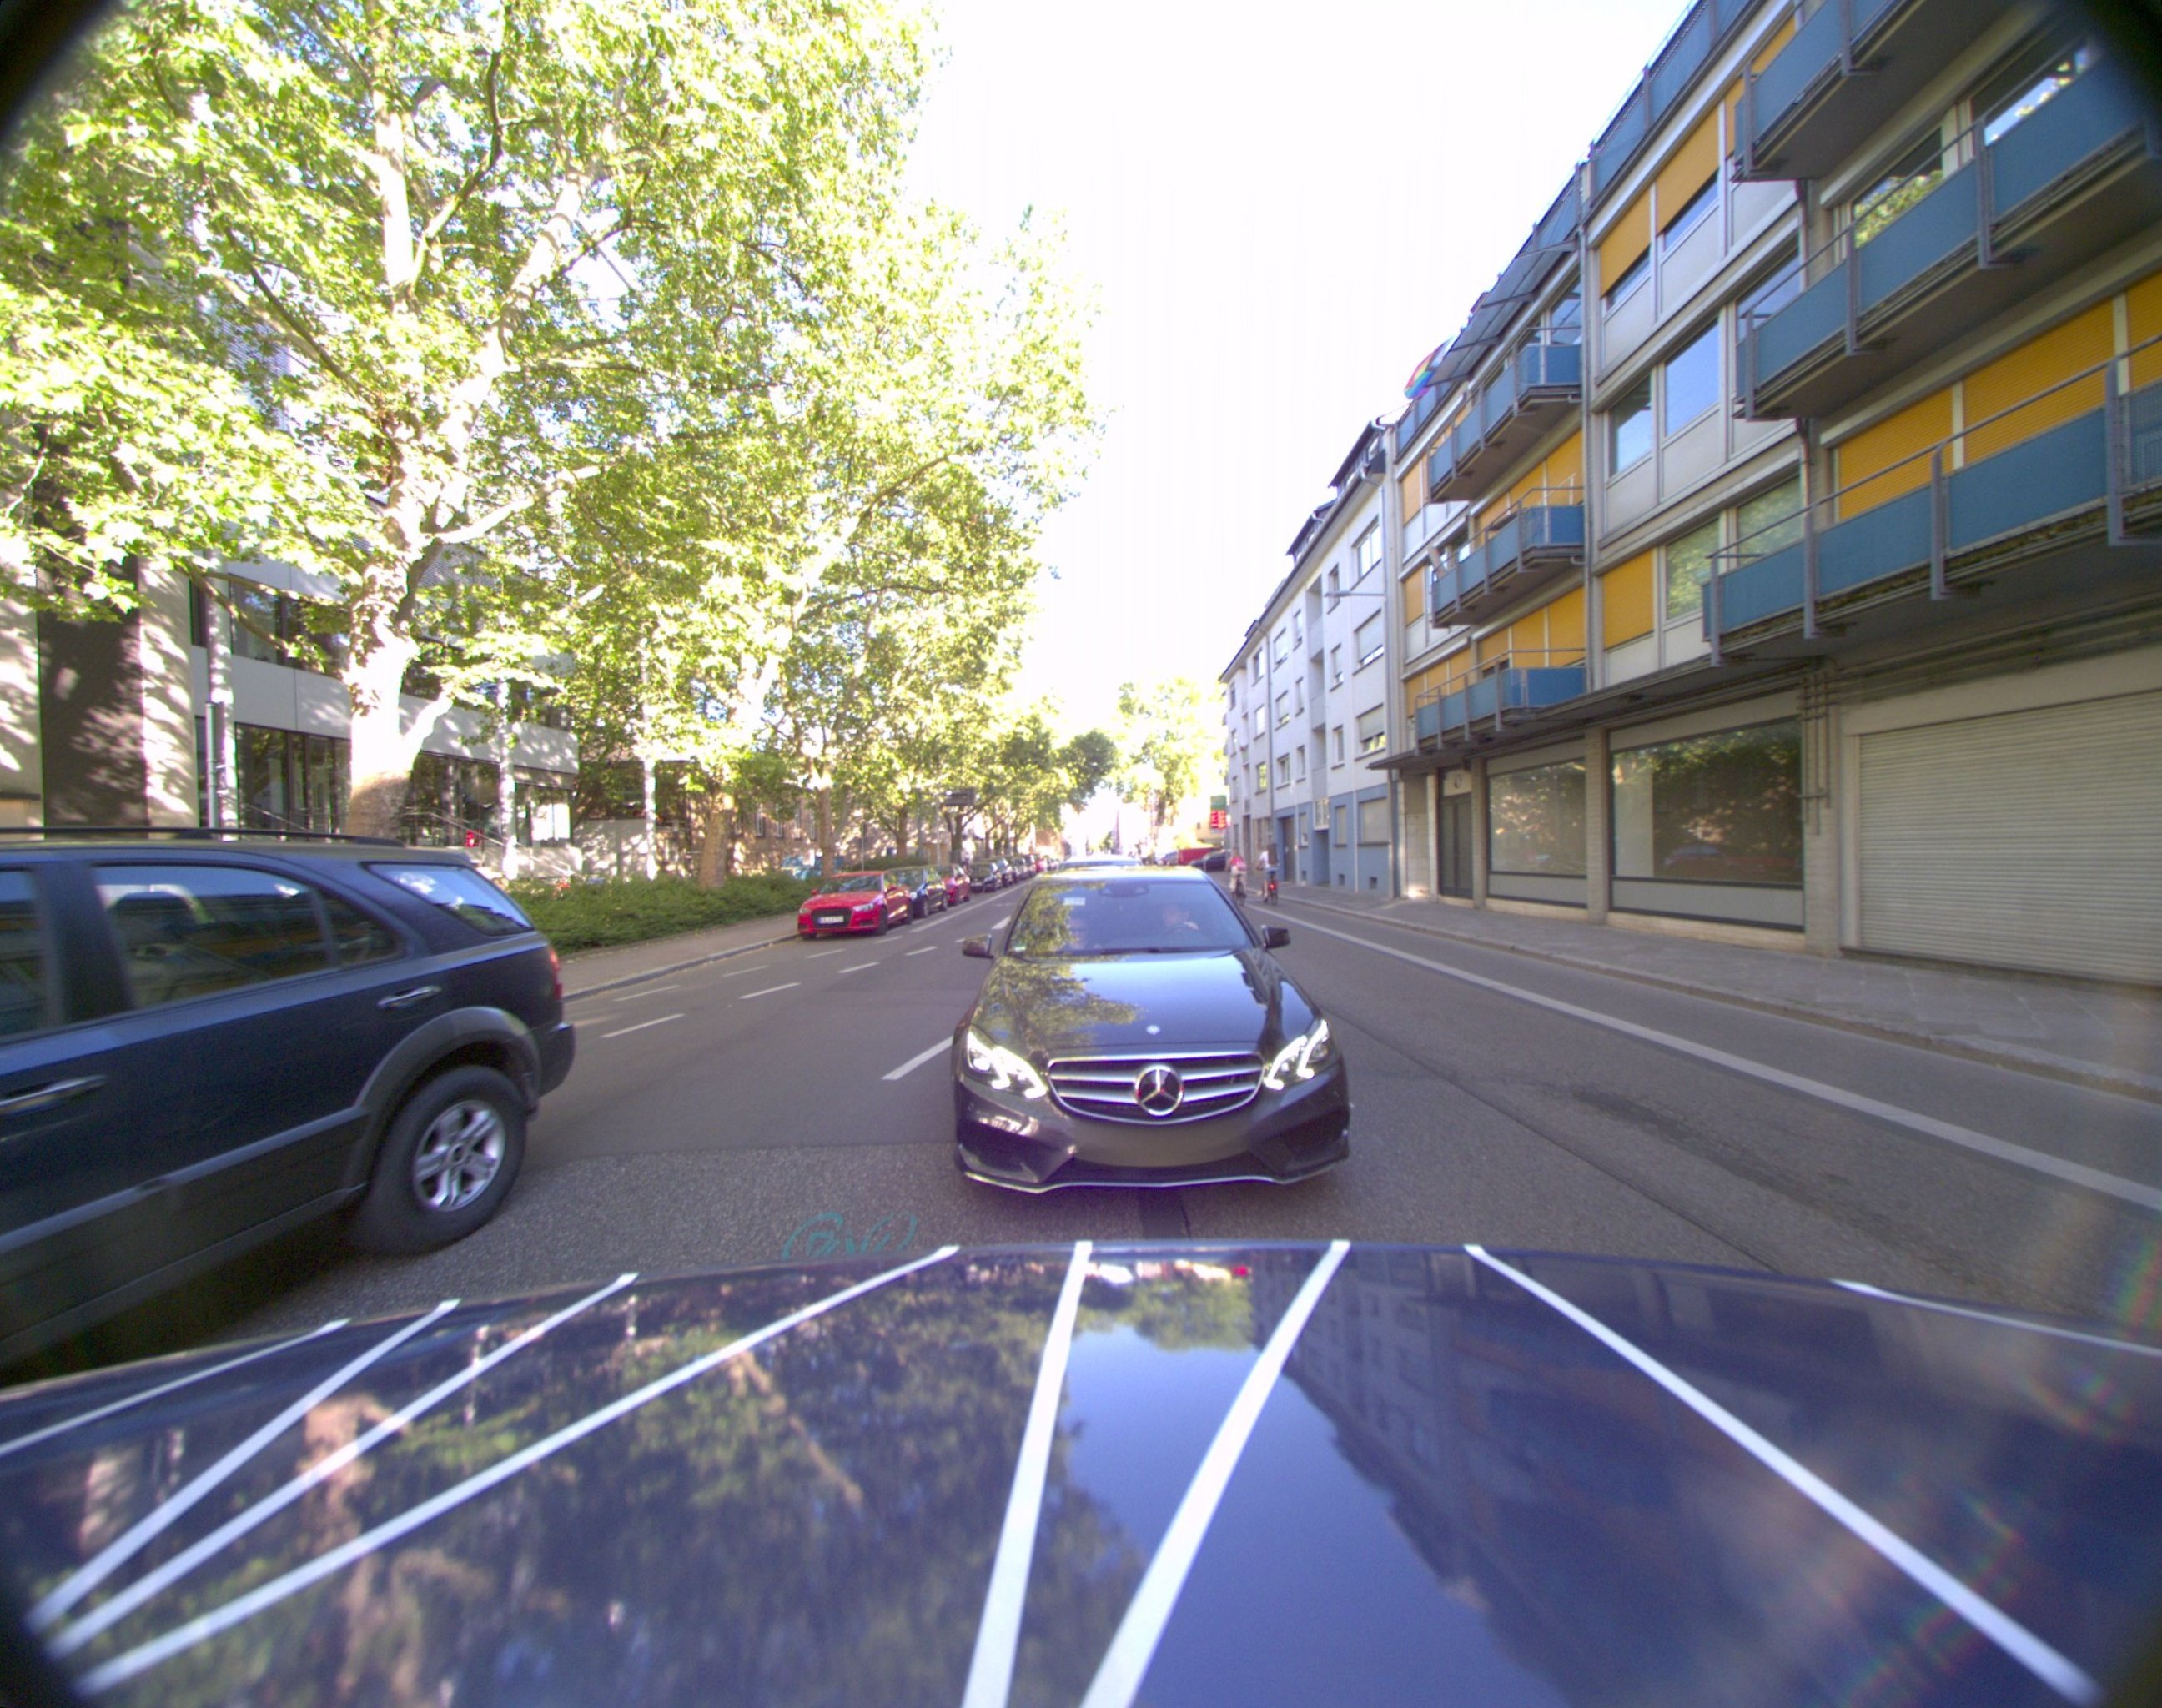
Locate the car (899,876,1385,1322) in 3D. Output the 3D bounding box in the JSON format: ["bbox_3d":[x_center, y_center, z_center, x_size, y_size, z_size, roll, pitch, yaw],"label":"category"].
[{"bbox_3d":[0.222,0.959,4.722,1.740,1.448,3.864,-2,0,0],"label":"car"}]

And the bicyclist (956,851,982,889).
[{"bbox_3d":[-4.919,0.704,33.383,1.038,1.610,0.697,-2,1,-10],"label":"bicyclist"}]

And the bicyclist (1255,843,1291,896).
[{"bbox_3d":[5.756,0.456,22.851,0.844,1.546,0.839,-2,1,1],"label":"bicyclist"}]

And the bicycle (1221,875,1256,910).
[{"bbox_3d":[4.753,1.151,22.998,0.695,0.924,1.863,-2,0,2],"label":"bicycle"}]

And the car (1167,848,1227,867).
[{"bbox_3d":[10.158,0.289,66.699,4.990,1.486,2.000,-2,0,1],"label":"car"}]

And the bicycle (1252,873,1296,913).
[{"bbox_3d":[5.774,1.138,22.848,0.865,1.072,1.836,-2,0,1],"label":"bicycle"}]

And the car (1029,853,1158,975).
[{"bbox_3d":[0.203,0.811,12.529,1.646,1.520,4.619,-4,0,1],"label":"car"}]

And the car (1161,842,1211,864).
[{"bbox_3d":[11.030,-0.096,80.188,4.990,2.181,2.000,-2,1,1],"label":"car"}]

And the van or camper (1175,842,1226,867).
[{"bbox_3d":[10.056,0.028,64.196,3.997,2.002,2.000,-2,1,0],"label":"van or camper"}]

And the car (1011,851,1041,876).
[{"bbox_3d":[-4.281,0.725,59.846,1.992,1.795,4.376,-2,0,0],"label":"car"}]

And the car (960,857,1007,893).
[{"bbox_3d":[-4.747,0.990,37.388,1.741,1.622,4.091,-2,0,0],"label":"car"}]

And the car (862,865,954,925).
[{"bbox_3d":[-5.001,1.136,22.520,1.741,1.444,4.091,-4,0,0],"label":"car"}]

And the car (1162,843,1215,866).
[{"bbox_3d":[10.910,0.031,77.337,4.990,2.181,2.000,-2,1,1],"label":"car"}]

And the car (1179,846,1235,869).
[{"bbox_3d":[10.135,0.274,61.289,4.146,1.681,2.000,-2,0,1],"label":"car"}]

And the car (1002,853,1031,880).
[{"bbox_3d":[-4.615,0.871,54.712,1.741,1.785,3.895,-2,0,0],"label":"car"}]

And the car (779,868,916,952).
[{"bbox_3d":[-5.234,1.177,17.627,1.830,1.519,4.142,-4,0,0],"label":"car"}]

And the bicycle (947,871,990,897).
[{"bbox_3d":[-4.936,1.305,33.382,1.800,1.009,0.734,-2,1,-10],"label":"bicycle"}]

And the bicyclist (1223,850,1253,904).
[{"bbox_3d":[4.726,0.679,22.908,0.686,1.569,0.982,-2,1,2],"label":"bicyclist"}]

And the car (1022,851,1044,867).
[{"bbox_3d":[-4.387,0.441,70.442,1.741,1.469,4.091,-2,0,0],"label":"car"}]

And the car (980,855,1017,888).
[{"bbox_3d":[-4.537,0.931,42.279,1.634,1.677,3.907,-2,0,0],"label":"car"}]

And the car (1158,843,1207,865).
[{"bbox_3d":[11.034,-0.003,82.820,4.990,2.181,2.000,-2,1,1],"label":"car"}]

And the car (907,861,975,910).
[{"bbox_3d":[-5.003,1.091,27.618,1.681,1.484,3.918,-4,0,0],"label":"car"}]

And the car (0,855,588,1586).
[{"bbox_3d":[-3.563,0.947,1.758,1.785,1.760,4.384,-3,0,2],"label":"car"}]

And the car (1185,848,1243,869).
[{"bbox_3d":[10.311,0.328,58.959,4.146,1.486,2.000,-2,0,1],"label":"car"}]
